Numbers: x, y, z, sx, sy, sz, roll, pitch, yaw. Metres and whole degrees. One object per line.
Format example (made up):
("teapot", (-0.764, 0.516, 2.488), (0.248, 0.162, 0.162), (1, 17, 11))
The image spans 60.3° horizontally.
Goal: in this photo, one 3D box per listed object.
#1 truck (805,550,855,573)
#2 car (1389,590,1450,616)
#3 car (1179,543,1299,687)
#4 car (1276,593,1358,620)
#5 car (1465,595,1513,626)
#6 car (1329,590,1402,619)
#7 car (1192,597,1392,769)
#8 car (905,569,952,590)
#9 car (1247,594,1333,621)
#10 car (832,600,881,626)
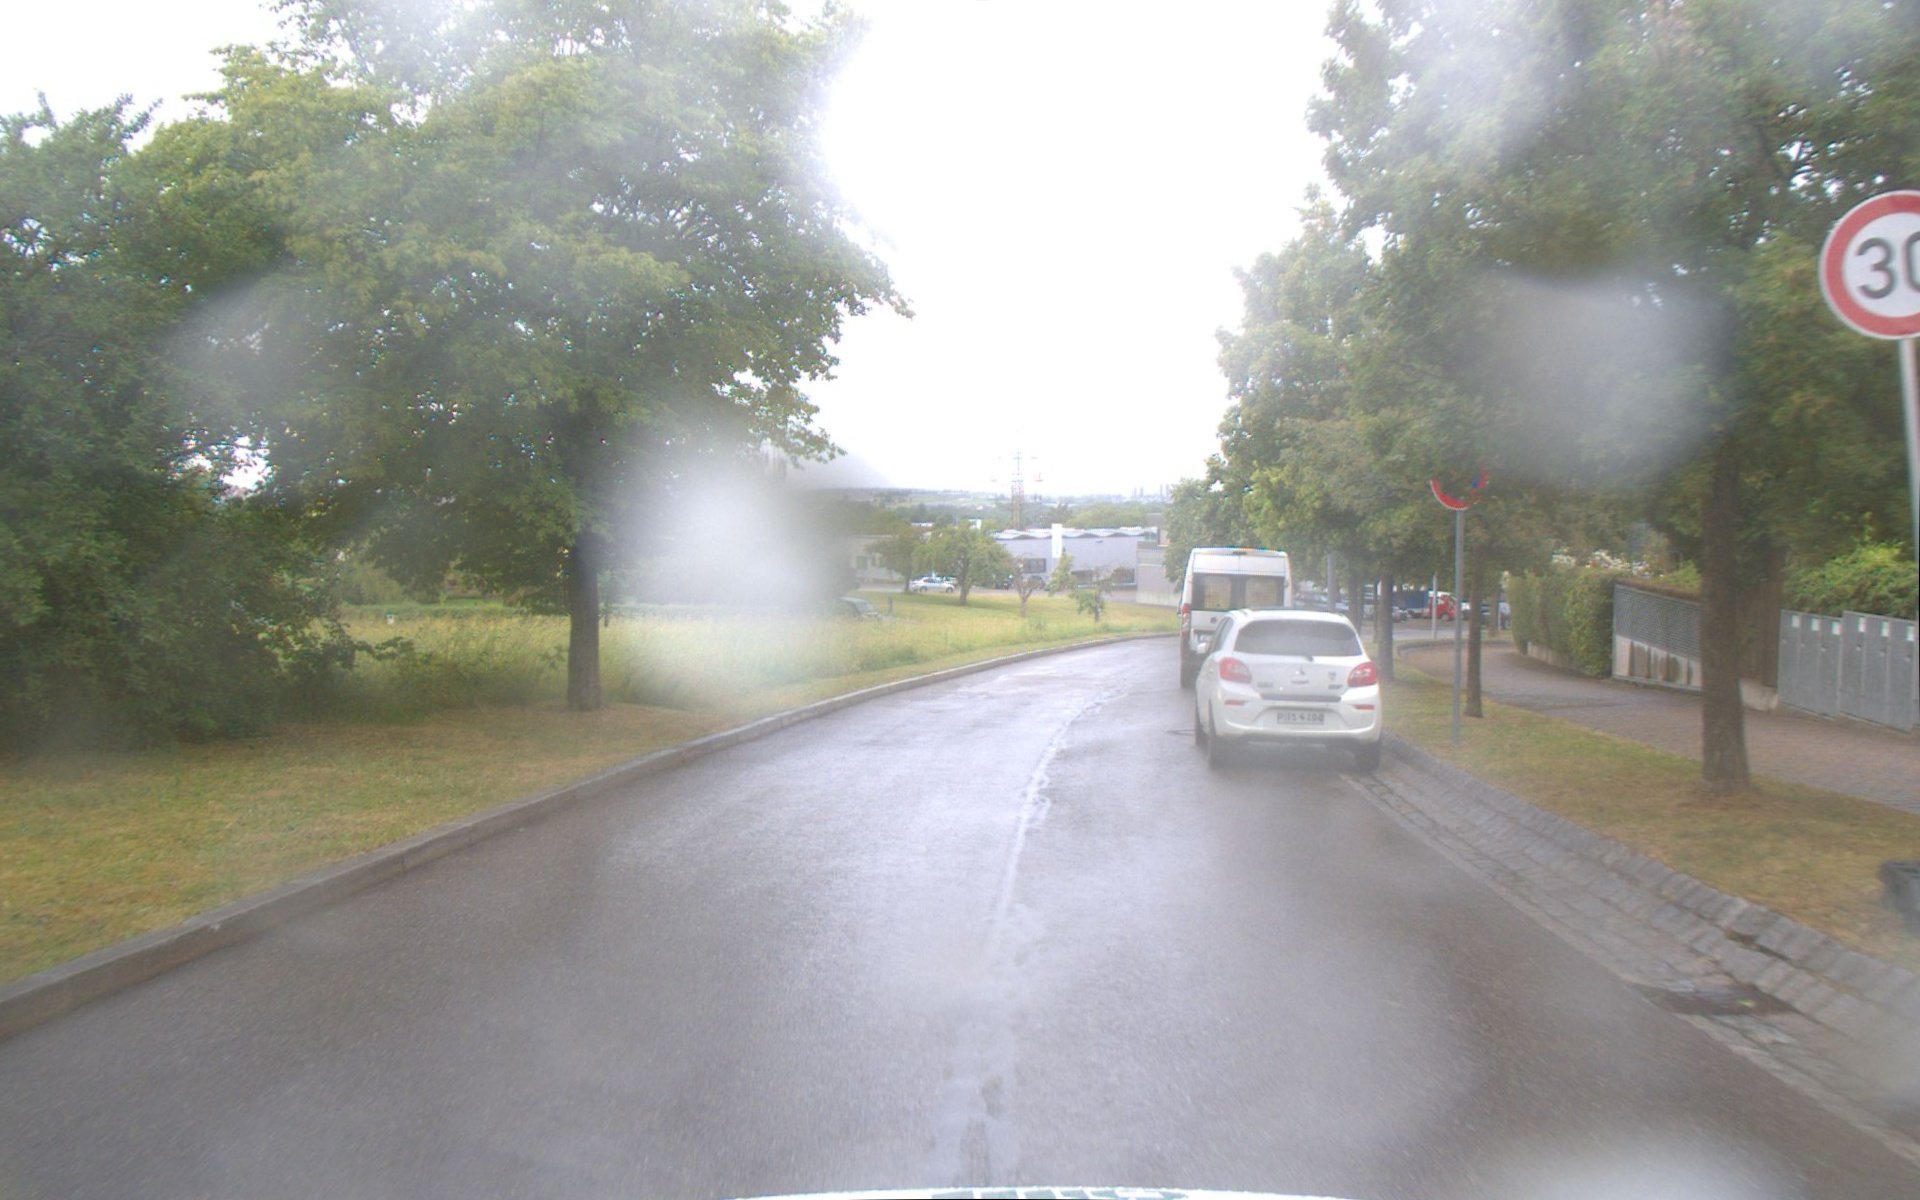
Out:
("truck", (-15.275, -4.531, 194.158), (5.248, 2.348, 2.415), (1, 3, -27))
("car", (29.534, 0.208, 106.410), (3.494, 1.634, 1.690), (0, 0, 29))
("car", (5.413, 0.245, 32.263), (2.072, 2.510, 5.514), (1, 0, 9))
("car", (18.995, 0.359, 87.998), (3.908, 1.384, 1.852), (0, 0, 26))
("car", (29.610, 0.569, 92.534), (1.656, 1.578, 3.687), (3, 3, 32))
("car", (23.281, 0.270, 94.961), (3.793, 1.574, 1.772), (1, 0, 25))
("car", (3.286, 0.762, 16.942), (1.572, 1.529, 3.728), (1, 0, 5))
("car", (-3.077, -1.979, 160.859), (4.212, 1.731, 1.782), (2, 3, -28))
("car", (17.196, 0.394, 86.177), (4.083, 1.379, 1.861), (0, 0, 26))
("car", (-7.288, 0.904, 115.936), (1.759, 1.624, 3.956), (0, 2, -32))
